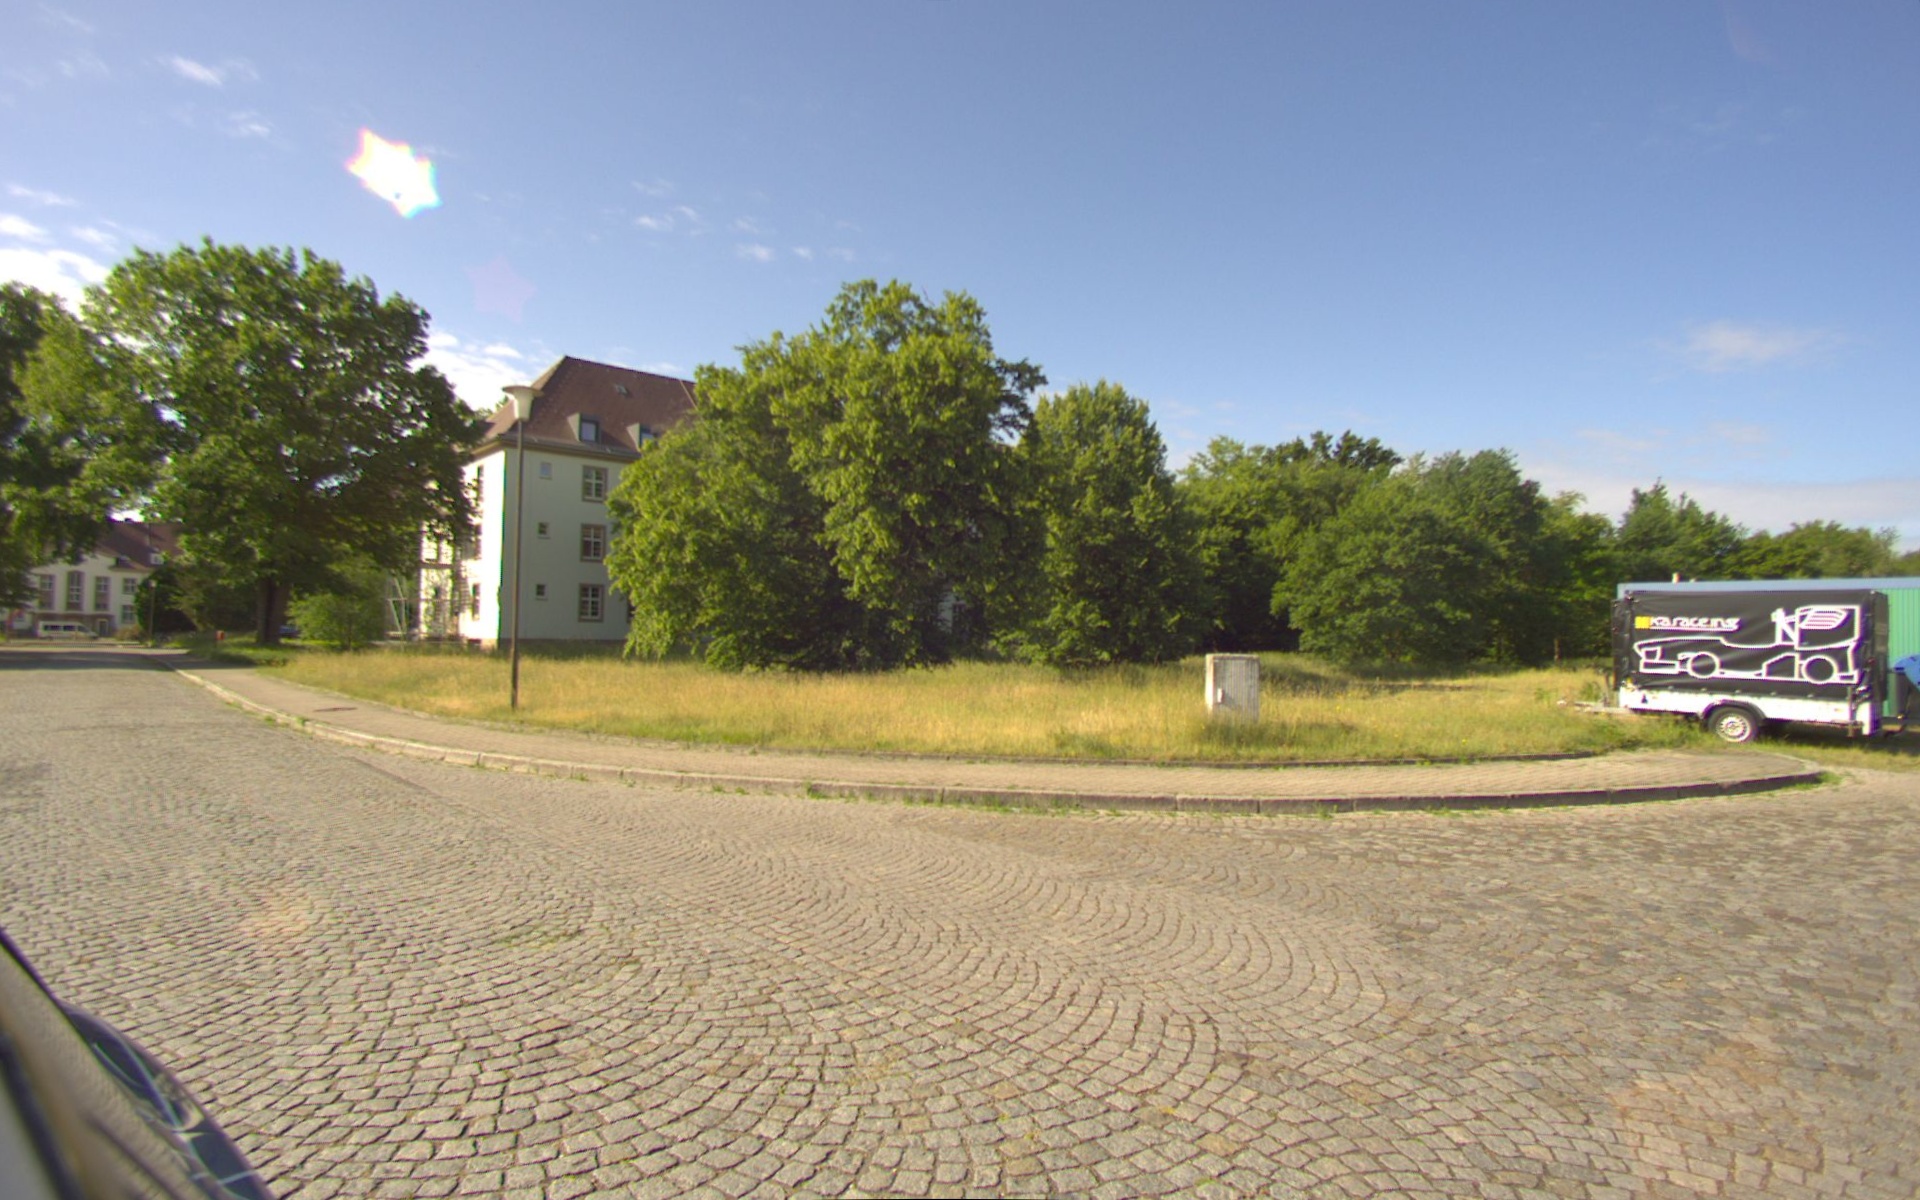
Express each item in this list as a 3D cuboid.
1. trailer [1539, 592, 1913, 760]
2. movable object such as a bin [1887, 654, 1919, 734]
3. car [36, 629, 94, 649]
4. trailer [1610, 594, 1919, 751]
[{"bbox_3d":[12.044,1.096,16.160,1.983,2.290,4.474,4,-3,-41],"label":"trailer"},{"bbox_3d":[18.054,1.746,18.770,1.086,1.448,1.392,-1,-4,36],"label":"movable object such as a bin"},{"bbox_3d":[-101.247,4.400,114.569,4.799,2.111,2.002,4,-4,-42],"label":"car"},{"bbox_3d":[14.183,1.168,17.372,4.855,2.409,1.915,0,-3,43],"label":"trailer"}]
